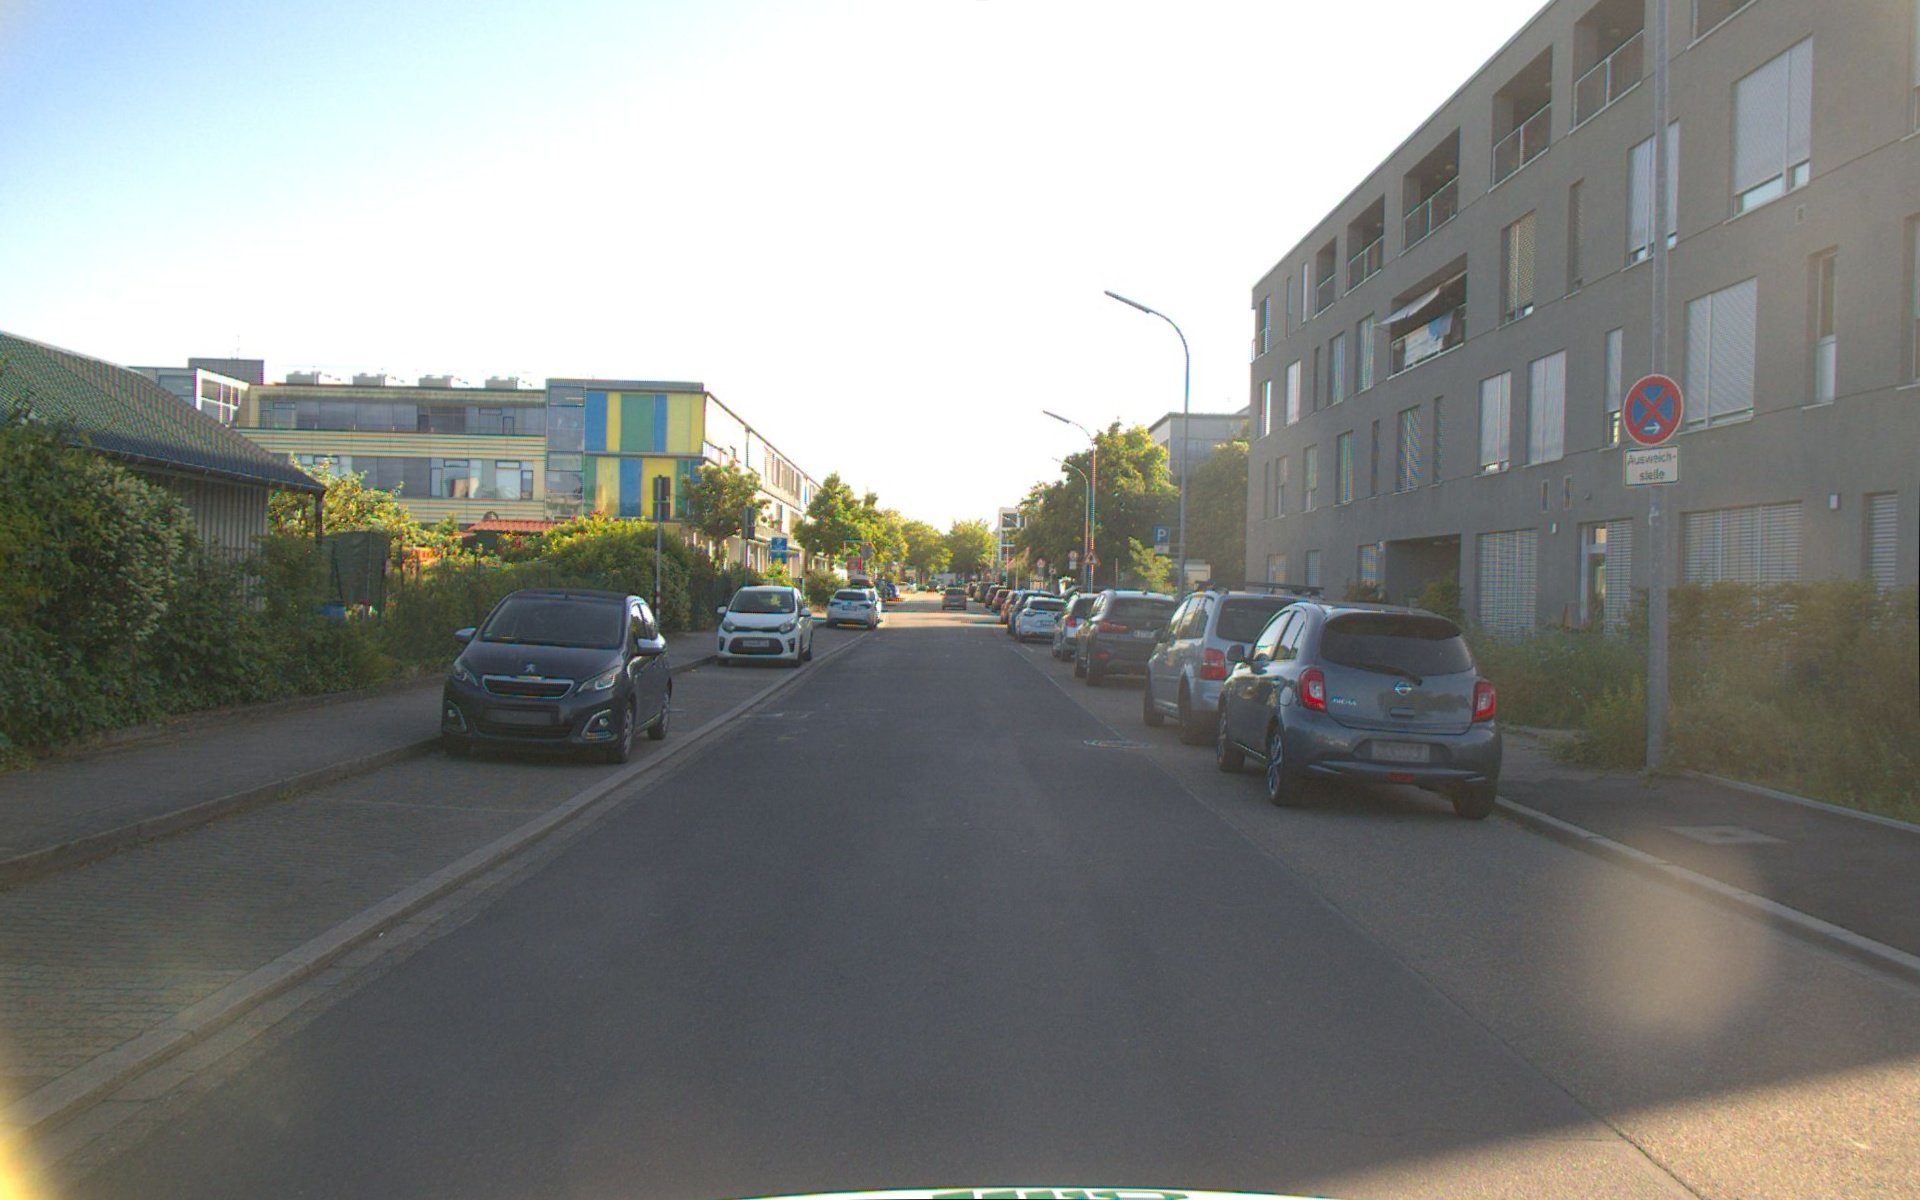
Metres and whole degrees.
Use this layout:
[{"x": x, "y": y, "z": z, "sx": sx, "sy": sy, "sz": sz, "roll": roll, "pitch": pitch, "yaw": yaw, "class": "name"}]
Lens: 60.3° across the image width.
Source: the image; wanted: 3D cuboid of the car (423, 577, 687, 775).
[{"x": -3.614, "y": 0.617, "z": 15.347, "sx": 1.528, "sy": 1.520, "sz": 3.570, "roll": 4, "pitch": 0, "yaw": -1, "class": "car"}]

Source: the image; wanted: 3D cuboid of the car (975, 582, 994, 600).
[{"x": 2.198, "y": -0.821, "z": 148.960, "sx": 1.416, "sy": 1.576, "sz": 3.613, "roll": 3, "pitch": 0, "yaw": -2, "class": "car"}]

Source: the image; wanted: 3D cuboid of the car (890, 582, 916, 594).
[{"x": -8.140, "y": -1.739, "z": 236.252, "sx": 3.533, "sy": 1.576, "sz": 1.448, "roll": 3, "pitch": 0, "yaw": -6, "class": "car"}]

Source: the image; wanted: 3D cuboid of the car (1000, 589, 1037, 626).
[{"x": 2.642, "y": 0.312, "z": 75.341, "sx": 1.416, "sy": 1.576, "sz": 3.613, "roll": 3, "pitch": 0, "yaw": -2, "class": "car"}]

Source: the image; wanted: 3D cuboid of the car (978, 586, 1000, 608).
[{"x": 2.181, "y": -0.248, "z": 123.551, "sx": 1.416, "sy": 1.576, "sz": 3.613, "roll": 3, "pitch": 0, "yaw": -2, "class": "car"}]

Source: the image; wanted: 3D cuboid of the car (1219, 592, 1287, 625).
[{"x": 14.815, "y": 0.435, "z": 83.793, "sx": 3.149, "sy": 1.486, "sz": 1.450, "roll": 3, "pitch": 0, "yaw": 2, "class": "car"}]

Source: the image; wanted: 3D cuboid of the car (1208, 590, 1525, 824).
[{"x": 3.162, "y": 0.746, "z": 13.620, "sx": 1.589, "sy": 1.553, "sz": 3.901, "roll": 4, "pitch": 0, "yaw": 0, "class": "car"}]

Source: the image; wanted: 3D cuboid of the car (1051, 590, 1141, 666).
[{"x": 3.080, "y": 0.591, "z": 37.984, "sx": 1.623, "sy": 1.578, "sz": 3.850, "roll": 3, "pitch": 0, "yaw": -1, "class": "car"}]

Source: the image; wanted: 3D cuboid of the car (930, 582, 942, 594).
[{"x": -3.557, "y": -1.774, "z": 242.938, "sx": 1.630, "sy": 1.576, "sz": 3.901, "roll": 3, "pitch": 0, "yaw": -2, "class": "car"}]

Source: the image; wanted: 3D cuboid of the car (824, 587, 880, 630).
[{"x": -4.005, "y": 0.304, "z": 61.723, "sx": 1.817, "sy": 1.453, "sz": 4.133, "roll": 3, "pitch": 0, "yaw": -1, "class": "car"}]

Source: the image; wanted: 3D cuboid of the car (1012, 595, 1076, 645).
[{"x": 2.651, "y": 0.610, "z": 52.921, "sx": 1.706, "sy": 1.453, "sz": 4.133, "roll": 3, "pitch": 0, "yaw": -1, "class": "car"}]

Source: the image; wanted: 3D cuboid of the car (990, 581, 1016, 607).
[{"x": 2.769, "y": -0.378, "z": 107.558, "sx": 1.416, "sy": 1.576, "sz": 3.613, "roll": 3, "pitch": 0, "yaw": -2, "class": "car"}]

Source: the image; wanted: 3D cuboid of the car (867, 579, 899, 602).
[{"x": -5.624, "y": -0.672, "z": 120.967, "sx": 1.816, "sy": 1.590, "sz": 4.136, "roll": 3, "pitch": 0, "yaw": 4, "class": "car"}]

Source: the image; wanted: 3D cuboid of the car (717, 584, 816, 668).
[{"x": -3.740, "y": 0.469, "z": 32.390, "sx": 1.528, "sy": 1.521, "sz": 3.758, "roll": 1, "pitch": 0, "yaw": -1, "class": "car"}]

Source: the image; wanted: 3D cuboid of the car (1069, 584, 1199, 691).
[{"x": 2.965, "y": 0.593, "z": 28.987, "sx": 1.706, "sy": 1.653, "sz": 4.178, "roll": 3, "pitch": 0, "yaw": -1, "class": "car"}]

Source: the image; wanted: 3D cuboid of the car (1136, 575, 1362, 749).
[{"x": 3.122, "y": 0.610, "z": 18.666, "sx": 1.643, "sy": 1.636, "sz": 4.177, "roll": 4, "pitch": 0, "yaw": -1, "class": "car"}]

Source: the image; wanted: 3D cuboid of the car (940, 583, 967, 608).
[{"x": -0.445, "y": -0.283, "z": 111.573, "sx": 1.655, "sy": 1.576, "sz": 3.613, "roll": 3, "pitch": 0, "yaw": -2, "class": "car"}]

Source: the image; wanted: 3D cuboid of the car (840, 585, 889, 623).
[{"x": -3.978, "y": 0.143, "z": 69.454, "sx": 1.817, "sy": 1.453, "sz": 4.133, "roll": 3, "pitch": 0, "yaw": -1, "class": "car"}]

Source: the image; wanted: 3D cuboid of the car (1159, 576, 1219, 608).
[{"x": 12.701, "y": -0.430, "z": 91.881, "sx": 3.149, "sy": 1.576, "sz": 1.450, "roll": 3, "pitch": 0, "yaw": 2, "class": "car"}]

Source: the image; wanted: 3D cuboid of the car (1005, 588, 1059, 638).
[{"x": 2.527, "y": 0.431, "z": 58.928, "sx": 1.599, "sy": 1.658, "sz": 3.613, "roll": 3, "pitch": 0, "yaw": -2, "class": "car"}]
